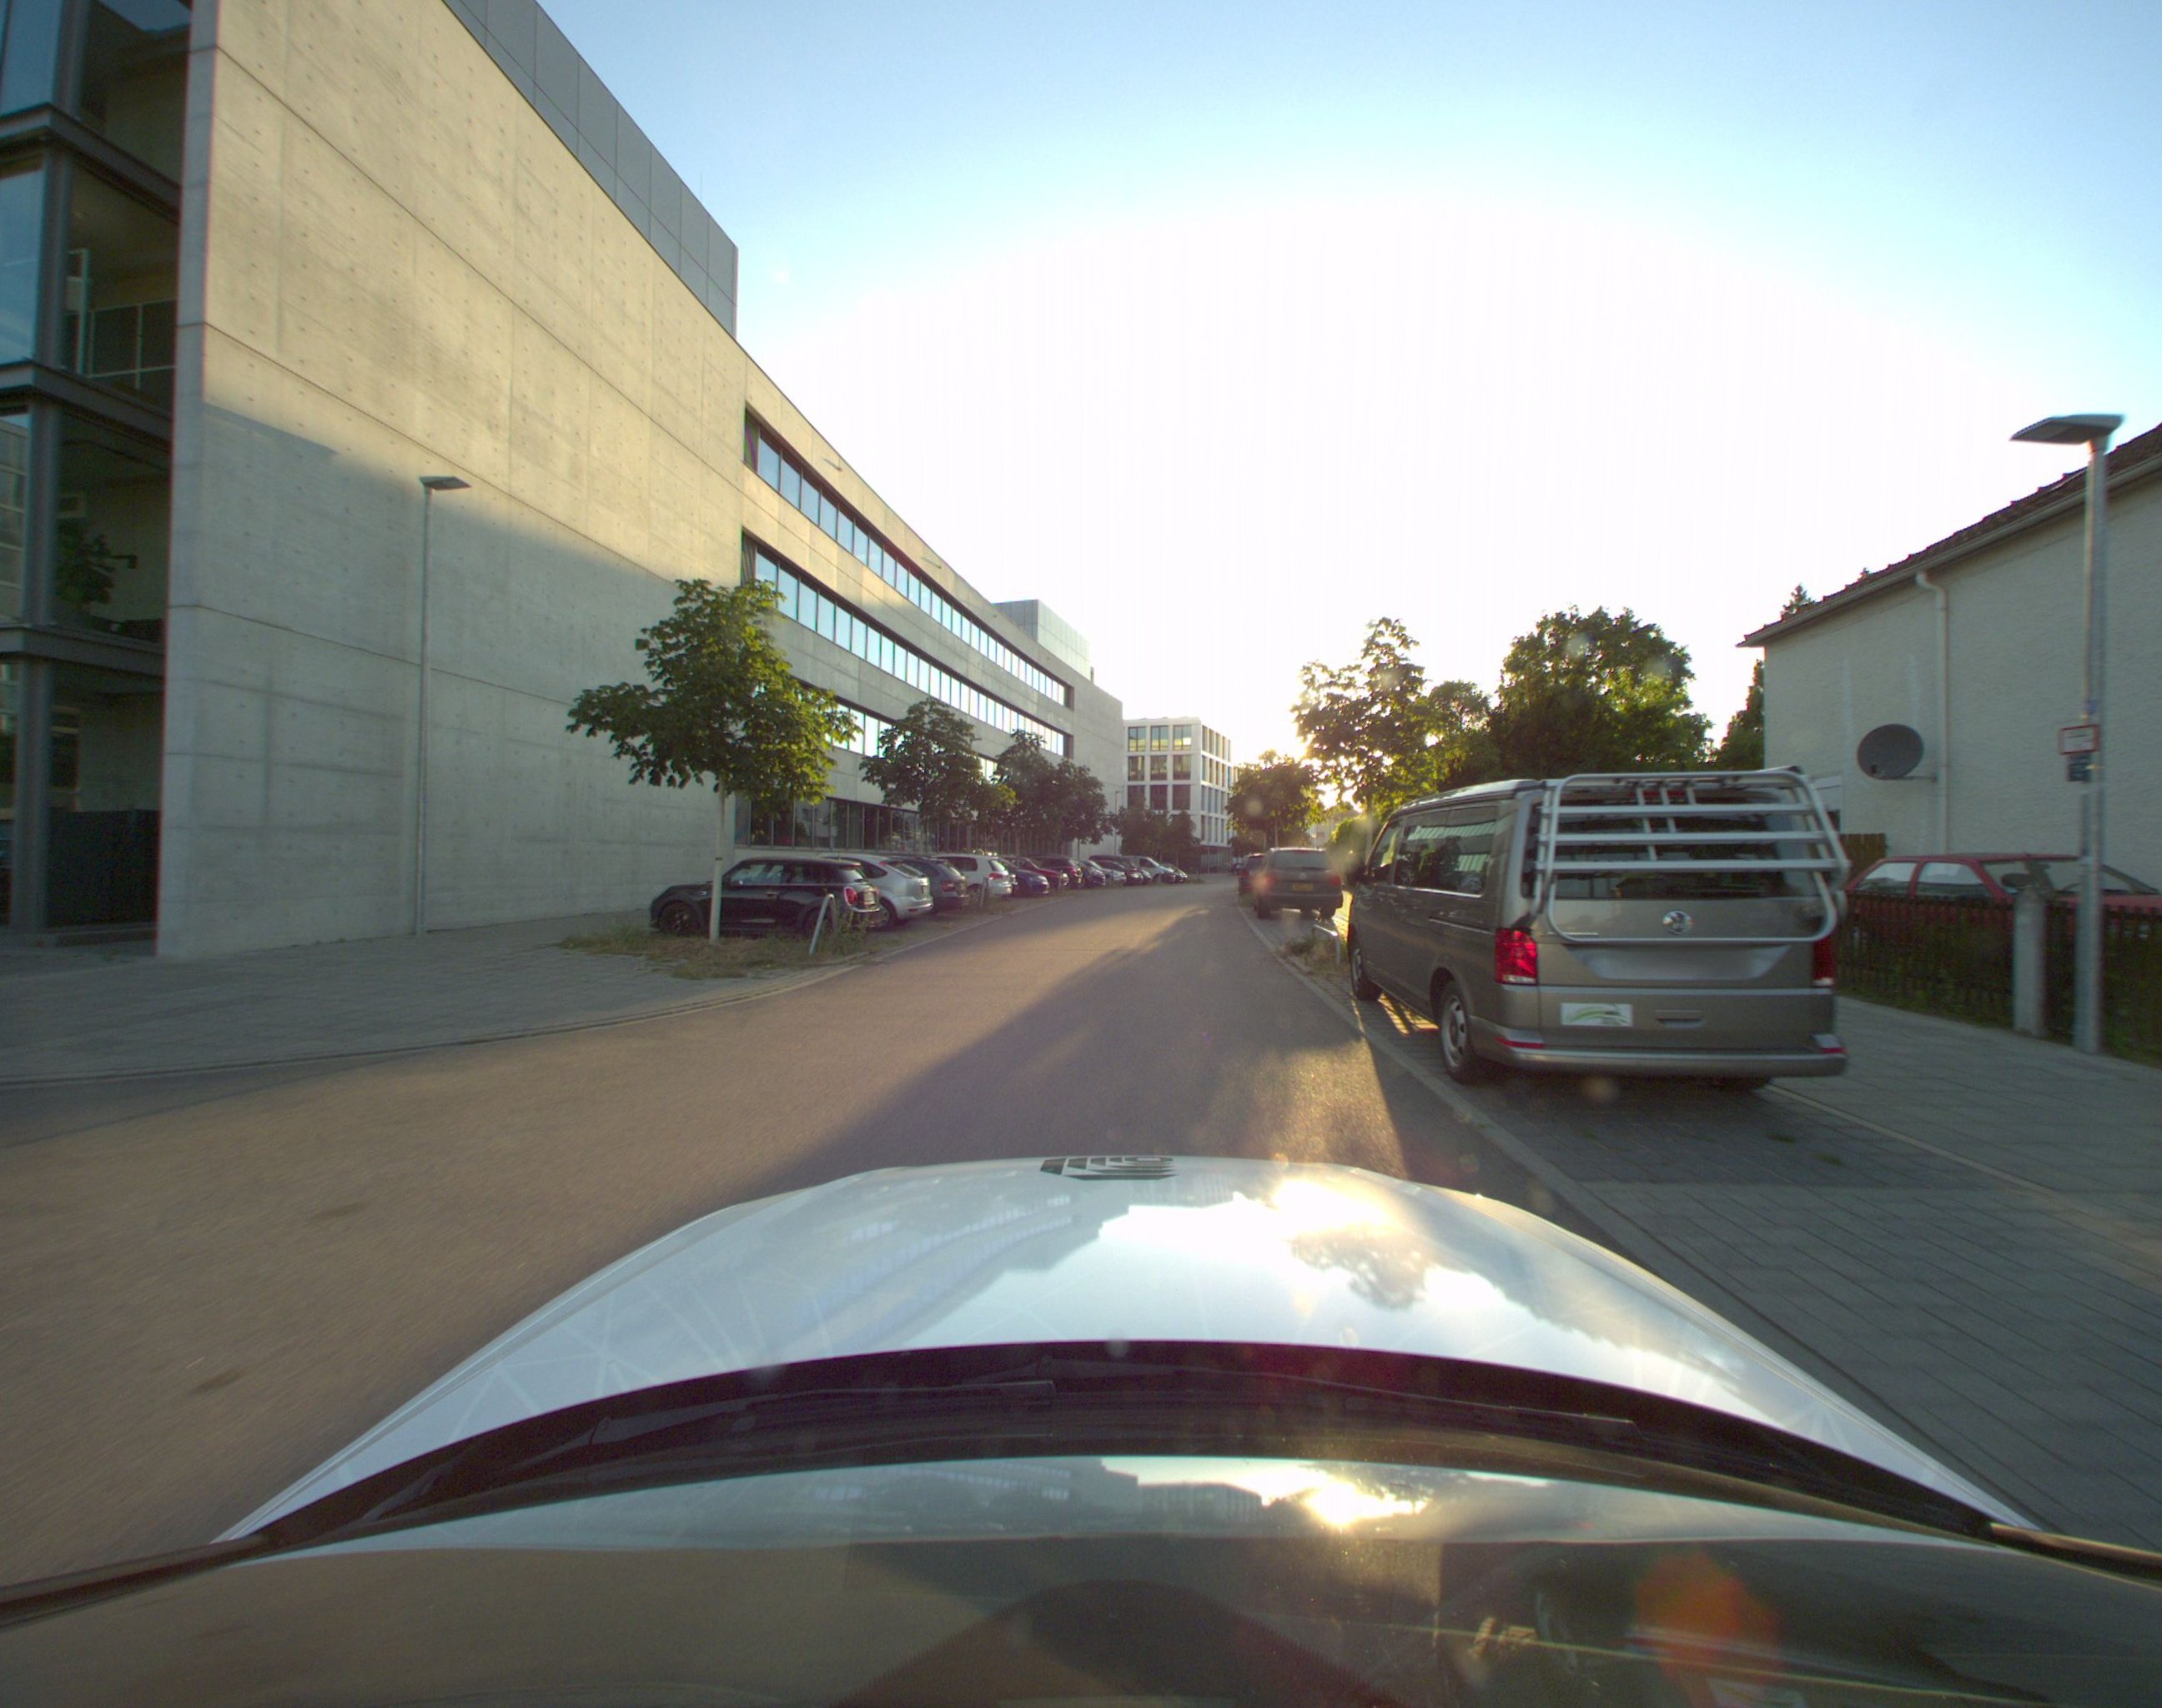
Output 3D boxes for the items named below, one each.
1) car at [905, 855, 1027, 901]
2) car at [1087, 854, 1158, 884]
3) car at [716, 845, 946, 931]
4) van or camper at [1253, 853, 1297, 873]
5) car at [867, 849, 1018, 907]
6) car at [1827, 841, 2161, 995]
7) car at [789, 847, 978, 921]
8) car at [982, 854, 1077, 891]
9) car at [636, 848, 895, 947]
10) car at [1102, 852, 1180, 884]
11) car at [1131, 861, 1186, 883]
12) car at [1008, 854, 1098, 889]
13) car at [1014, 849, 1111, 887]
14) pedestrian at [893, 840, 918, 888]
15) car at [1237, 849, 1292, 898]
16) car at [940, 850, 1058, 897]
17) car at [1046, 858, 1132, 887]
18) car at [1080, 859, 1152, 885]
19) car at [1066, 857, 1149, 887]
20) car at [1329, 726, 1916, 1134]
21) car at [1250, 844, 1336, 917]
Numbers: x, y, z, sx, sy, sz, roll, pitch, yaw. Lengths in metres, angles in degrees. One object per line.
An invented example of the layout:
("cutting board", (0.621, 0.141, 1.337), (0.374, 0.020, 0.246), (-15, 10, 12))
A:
("car", (-3.724, 0.768, 26.802), (3.615, 1.362, 1.688), (2, 0, 5))
("car", (2.712, 0.976, 52.650), (4.215, 1.742, 1.732), (3, -1, 16))
("car", (-5.040, 0.664, 16.782), (4.068, 1.528, 1.848), (2, 0, 3))
("van or camper", (25.615, 1.162, 107.508), (5.403, 2.484, 1.785), (2, 0, 25))
("car", (-4.018, 0.680, 23.963), (3.964, 1.511, 1.764), (2, 0, 8))
("car", (10.746, 0.598, 9.350), (1.519, 1.444, 3.650), (0, 0, 10))
("car", (-4.564, 0.662, 19.152), (3.980, 1.512, 1.587), (2, 1, 3))
("car", (-2.144, 0.768, 34.695), (3.678, 1.458, 1.716), (1, -1, 11))
("car", (-5.336, 0.698, 14.099), (3.717, 1.482, 1.772), (2, 0, 4))
("car", (4.226, 0.952, 56.900), (5.037, 1.946, 1.897), (3, -1, 17))
("car", (5.924, 1.352, 62.055), (3.855, 1.488, 1.659), (2, 0, 18))
("car", (-1.243, 0.775, 36.664), (3.677, 1.458, 1.685), (1, -1, 12))
("car", (-0.876, 0.685, 39.338), (4.280, 1.696, 1.902), (1, -1, 12))
("pedestrian", (-6.692, 0.385, 31.113), (0.642, 1.784, 0.727), (2, -1, 10))
("car", (6.270, 0.609, 27.937), (1.699, 1.550, 4.563), (0, 0, 12))
("car", (-2.943, 0.680, 29.601), (3.846, 1.511, 1.765), (2, 0, 10))
("car", (0.461, 1.001, 45.072), (4.400, 1.464, 1.770), (1, 0, 16))
("car", (2.170, 1.110, 50.676), (4.113, 1.404, 1.732), (3, -1, 16))
("car", (1.536, 1.015, 47.255), (4.361, 1.499, 1.771), (3, -1, 20))
("car", (3.545, 0.396, 6.712), (2.054, 2.095, 4.881), (0, 0, 7))
("car", (4.927, 0.575, 19.341), (1.729, 1.552, 3.650), (0, 0, 10))
